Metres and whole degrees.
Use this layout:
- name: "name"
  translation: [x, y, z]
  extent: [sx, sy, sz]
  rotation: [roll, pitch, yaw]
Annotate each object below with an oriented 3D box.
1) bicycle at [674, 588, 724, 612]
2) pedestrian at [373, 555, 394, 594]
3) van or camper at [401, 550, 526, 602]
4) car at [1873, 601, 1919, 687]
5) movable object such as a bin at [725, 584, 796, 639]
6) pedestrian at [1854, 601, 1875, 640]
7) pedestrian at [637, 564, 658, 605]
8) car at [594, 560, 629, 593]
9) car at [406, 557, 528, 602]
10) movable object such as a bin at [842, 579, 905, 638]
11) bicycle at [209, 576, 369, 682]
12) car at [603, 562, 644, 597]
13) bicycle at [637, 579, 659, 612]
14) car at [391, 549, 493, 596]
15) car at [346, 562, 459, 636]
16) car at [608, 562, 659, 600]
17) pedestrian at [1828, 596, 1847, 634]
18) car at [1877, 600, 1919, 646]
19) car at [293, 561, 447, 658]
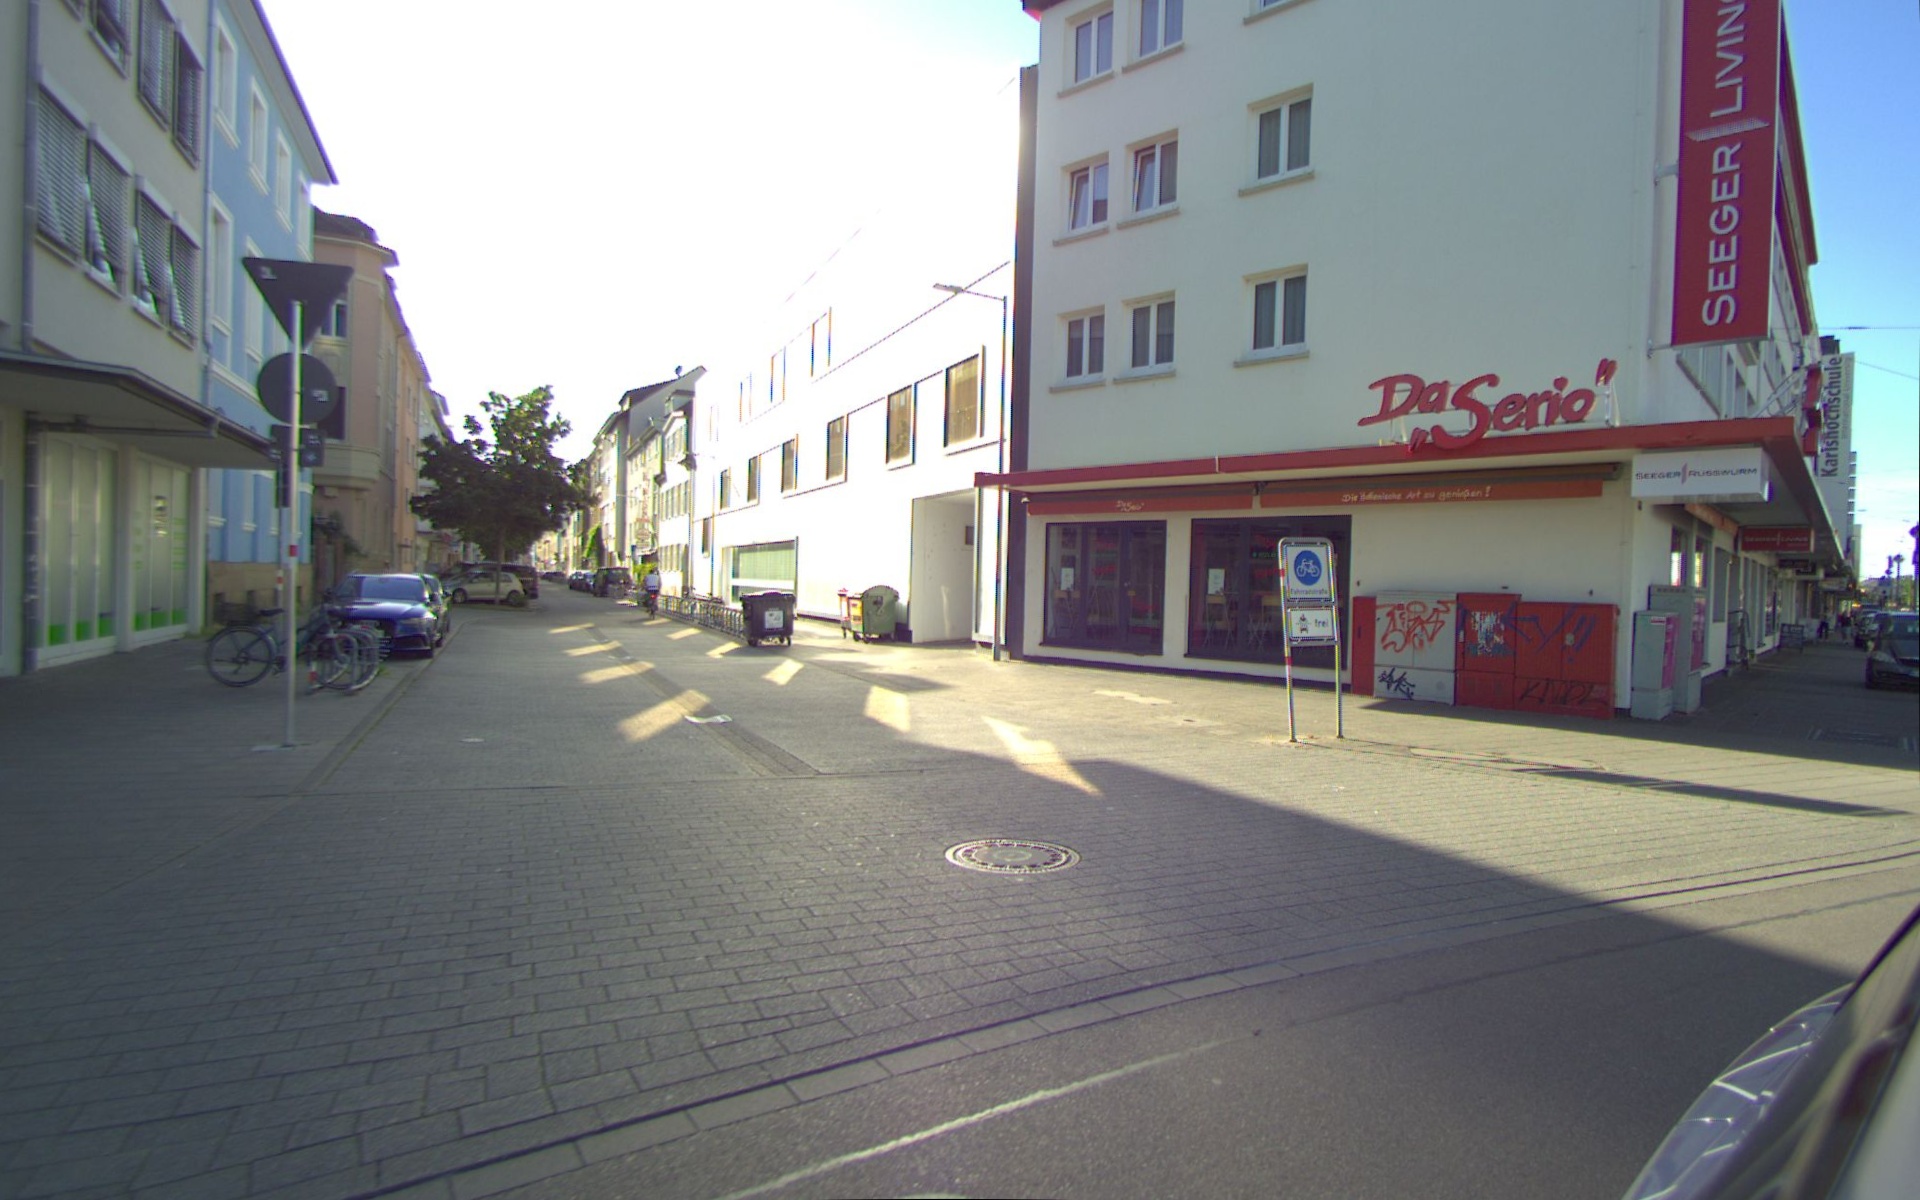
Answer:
- name: "bicycle"
  translation: [-9.762, -0.019, 37.837]
  extent: [1.769, 0.842, 0.441]
  rotation: [-1, 2, -23]
- name: "pedestrian"
  translation: [-23.928, -1.058, 42.000]
  extent: [0.739, 1.635, 0.803]
  rotation: [0, 1, -32]
- name: "van or camper"
  translation: [-22.271, -1.054, 45.593]
  extent: [1.868, 1.973, 4.711]
  rotation: [4, 0, 31]
- name: "car"
  translation: [19.998, 0.875, 20.725]
  extent: [1.777, 1.588, 3.899]
  rotation: [4, 3, 43]
- name: "movable object such as a bin"
  translation: [-4.987, 0.268, 25.257]
  extent: [1.389, 1.305, 1.653]
  rotation: [0, 1, -24]
- name: "pedestrian"
  translation: [44.024, 0.993, 49.257]
  extent: [0.735, 1.840, 0.737]
  rotation: [2, 1, 41]
- name: "pedestrian"
  translation: [-11.260, -0.566, 36.494]
  extent: [0.553, 1.438, 0.675]
  rotation: [4, -1, -22]
- name: "car"
  translation: [-22.952, -1.543, 66.599]
  extent: [1.843, 1.922, 4.322]
  rotation: [4, 0, -22]
- name: "car"
  translation: [-20.778, -0.822, 42.792]
  extent: [1.868, 1.568, 4.264]
  rotation: [4, 0, 31]
- name: "movable object such as a bin"
  translation: [-2.208, 0.203, 25.744]
  extent: [1.255, 1.458, 1.222]
  rotation: [0, 1, -25]
- name: "bicycle"
  translation: [-8.062, 0.354, 12.221]
  extent: [1.471, 1.175, 0.443]
  rotation: [4, -1, -24]
- name: "car"
  translation: [-19.226, -1.180, 57.721]
  extent: [1.843, 1.746, 4.322]
  rotation: [4, 0, -22]
- name: "bicycle"
  translation: [-11.208, -0.178, 36.304]
  extent: [0.547, 1.100, 1.548]
  rotation: [4, 0, -22]
- name: "car"
  translation: [-24.332, -1.262, 47.640]
  extent: [4.093, 1.825, 1.885]
  rotation: [5, -1, -28]
- name: "car"
  translation: [-12.945, -0.074, 23.762]
  extent: [1.843, 1.450, 4.837]
  rotation: [4, 0, -24]
- name: "car"
  translation: [-16.602, -0.987, 51.351]
  extent: [1.843, 1.746, 4.117]
  rotation: [4, 0, -25]
- name: "pedestrian"
  translation: [43.710, 0.735, 50.413]
  extent: [0.703, 1.840, 0.795]
  rotation: [2, 1, 41]
- name: "car"
  translation: [38.361, 0.920, 40.898]
  extent: [1.779, 1.683, 4.098]
  rotation: [4, 3, 43]
- name: "car"
  translation: [-10.566, 0.102, 18.461]
  extent: [1.843, 1.450, 4.837]
  rotation: [4, 0, -24]
